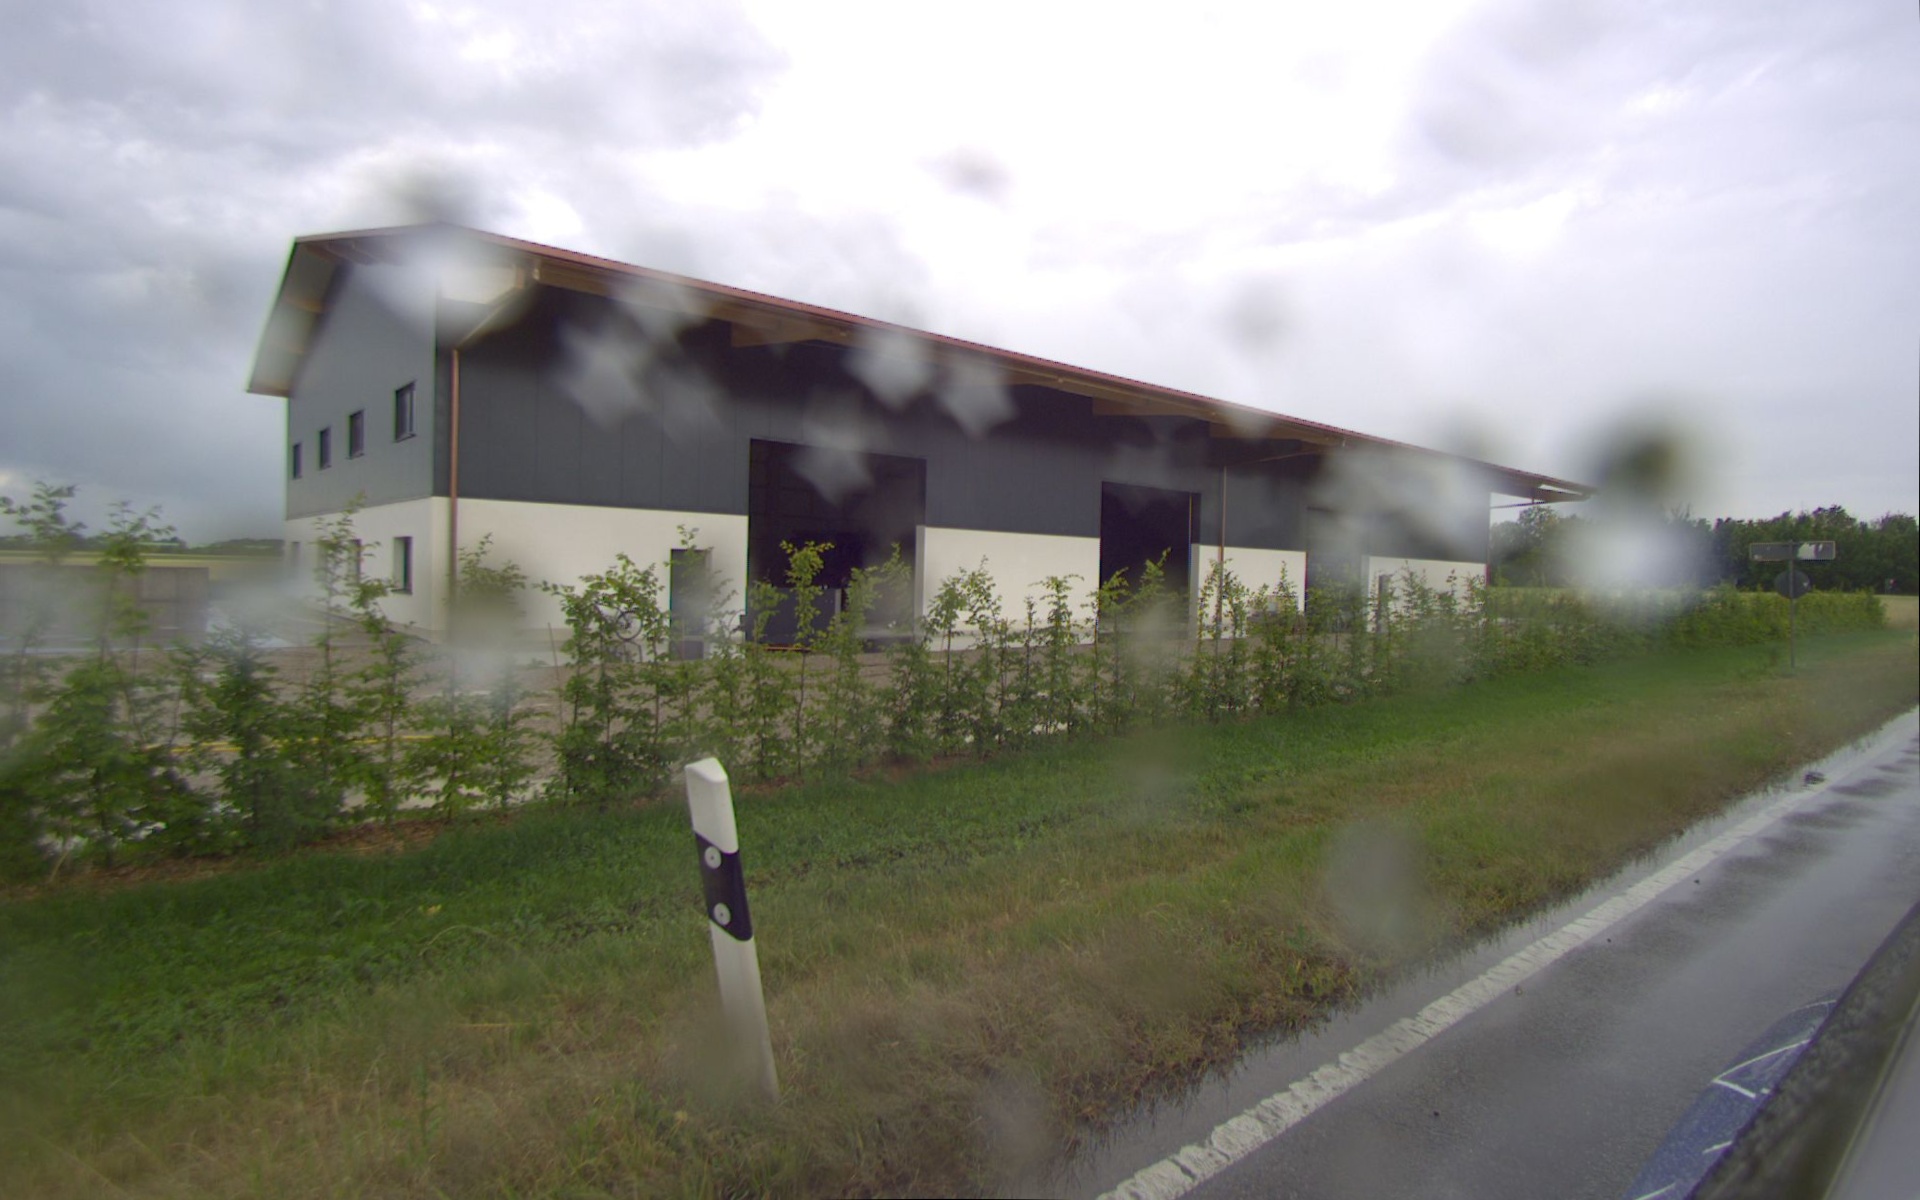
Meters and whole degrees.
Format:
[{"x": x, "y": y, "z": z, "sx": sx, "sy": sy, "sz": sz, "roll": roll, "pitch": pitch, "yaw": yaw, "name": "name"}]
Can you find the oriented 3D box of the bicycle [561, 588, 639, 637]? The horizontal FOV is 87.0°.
[{"x": -8.203, "y": 0.265, "z": 23.087, "sx": 1.631, "sy": 1.085, "sz": 0.391, "roll": 0, "pitch": 2, "yaw": -41, "name": "bicycle"}]
